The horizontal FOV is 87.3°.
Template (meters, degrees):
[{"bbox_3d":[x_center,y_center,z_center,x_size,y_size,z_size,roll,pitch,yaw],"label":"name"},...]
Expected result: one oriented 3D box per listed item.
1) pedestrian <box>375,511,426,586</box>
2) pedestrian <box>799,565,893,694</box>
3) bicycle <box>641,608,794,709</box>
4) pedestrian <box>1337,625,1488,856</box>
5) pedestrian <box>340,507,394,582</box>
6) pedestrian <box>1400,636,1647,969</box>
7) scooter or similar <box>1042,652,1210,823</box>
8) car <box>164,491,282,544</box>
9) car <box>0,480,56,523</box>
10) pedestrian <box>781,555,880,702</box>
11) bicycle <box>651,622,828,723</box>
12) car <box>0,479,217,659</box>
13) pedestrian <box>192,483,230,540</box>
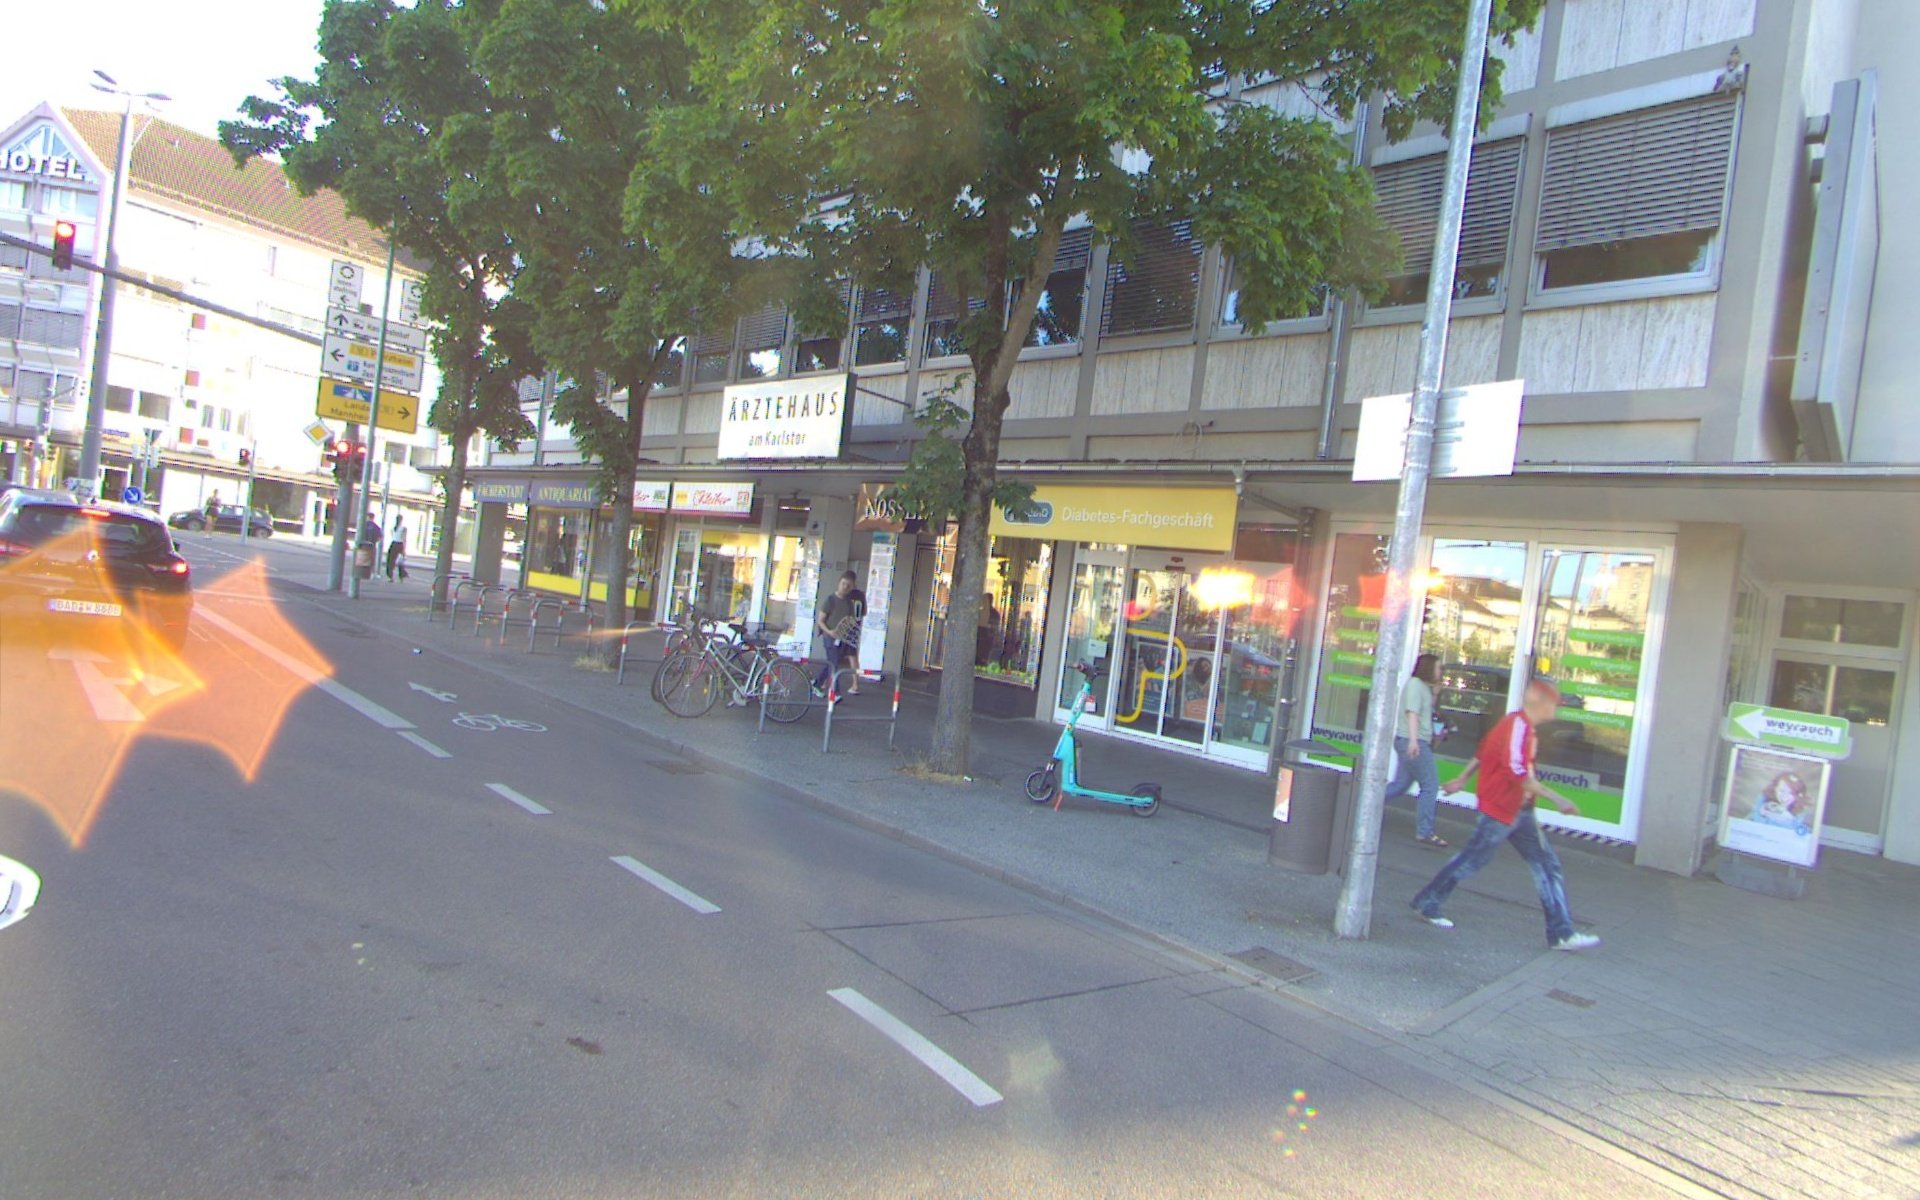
[{"bbox_3d":[-14.891,-1.354,26.791,0.717,1.851,0.995,8,-1,-13],"label":"pedestrian"},{"bbox_3d":[-1.645,0.424,14.496,0.883,1.703,0.745,8,-1,45],"label":"pedestrian"},{"bbox_3d":[-2.821,0.709,11.821,1.652,0.985,0.382,10,-1,-40],"label":"bicycle"},{"bbox_3d":[3.992,1.203,8.884,0.956,1.799,0.748,8,-1,26],"label":"pedestrian"},{"bbox_3d":[-15.704,-1.447,26.665,0.717,1.851,0.995,8,-1,-13],"label":"pedestrian"},{"bbox_3d":[3.366,1.159,6.126,1.030,1.704,0.826,8,-1,25],"label":"pedestrian"},{"bbox_3d":[1.353,1.118,8.264,1.198,1.232,0.294,7,0,-1],"label":"scooter or similar"},{"bbox_3d":[-36.151,-4.030,49.437,1.972,1.715,4.232,8,-2,41],"label":"car"},{"bbox_3d":[-41.518,-4.449,43.004,1.972,1.493,3.985,8,-2,41],"label":"car"},{"bbox_3d":[-1.714,0.372,13.314,0.745,1.799,0.790,9,-1,-44],"label":"pedestrian"},{"bbox_3d":[-2.371,0.816,10.999,1.812,0.901,0.410,10,-1,-40],"label":"bicycle"},{"bbox_3d":[-9.442,-0.428,10.671,3.947,1.457,1.762,8,-1,44],"label":"car"},{"bbox_3d":[-25.416,-2.998,34.147,0.745,1.799,0.790,9,-1,-44],"label":"pedestrian"}]
